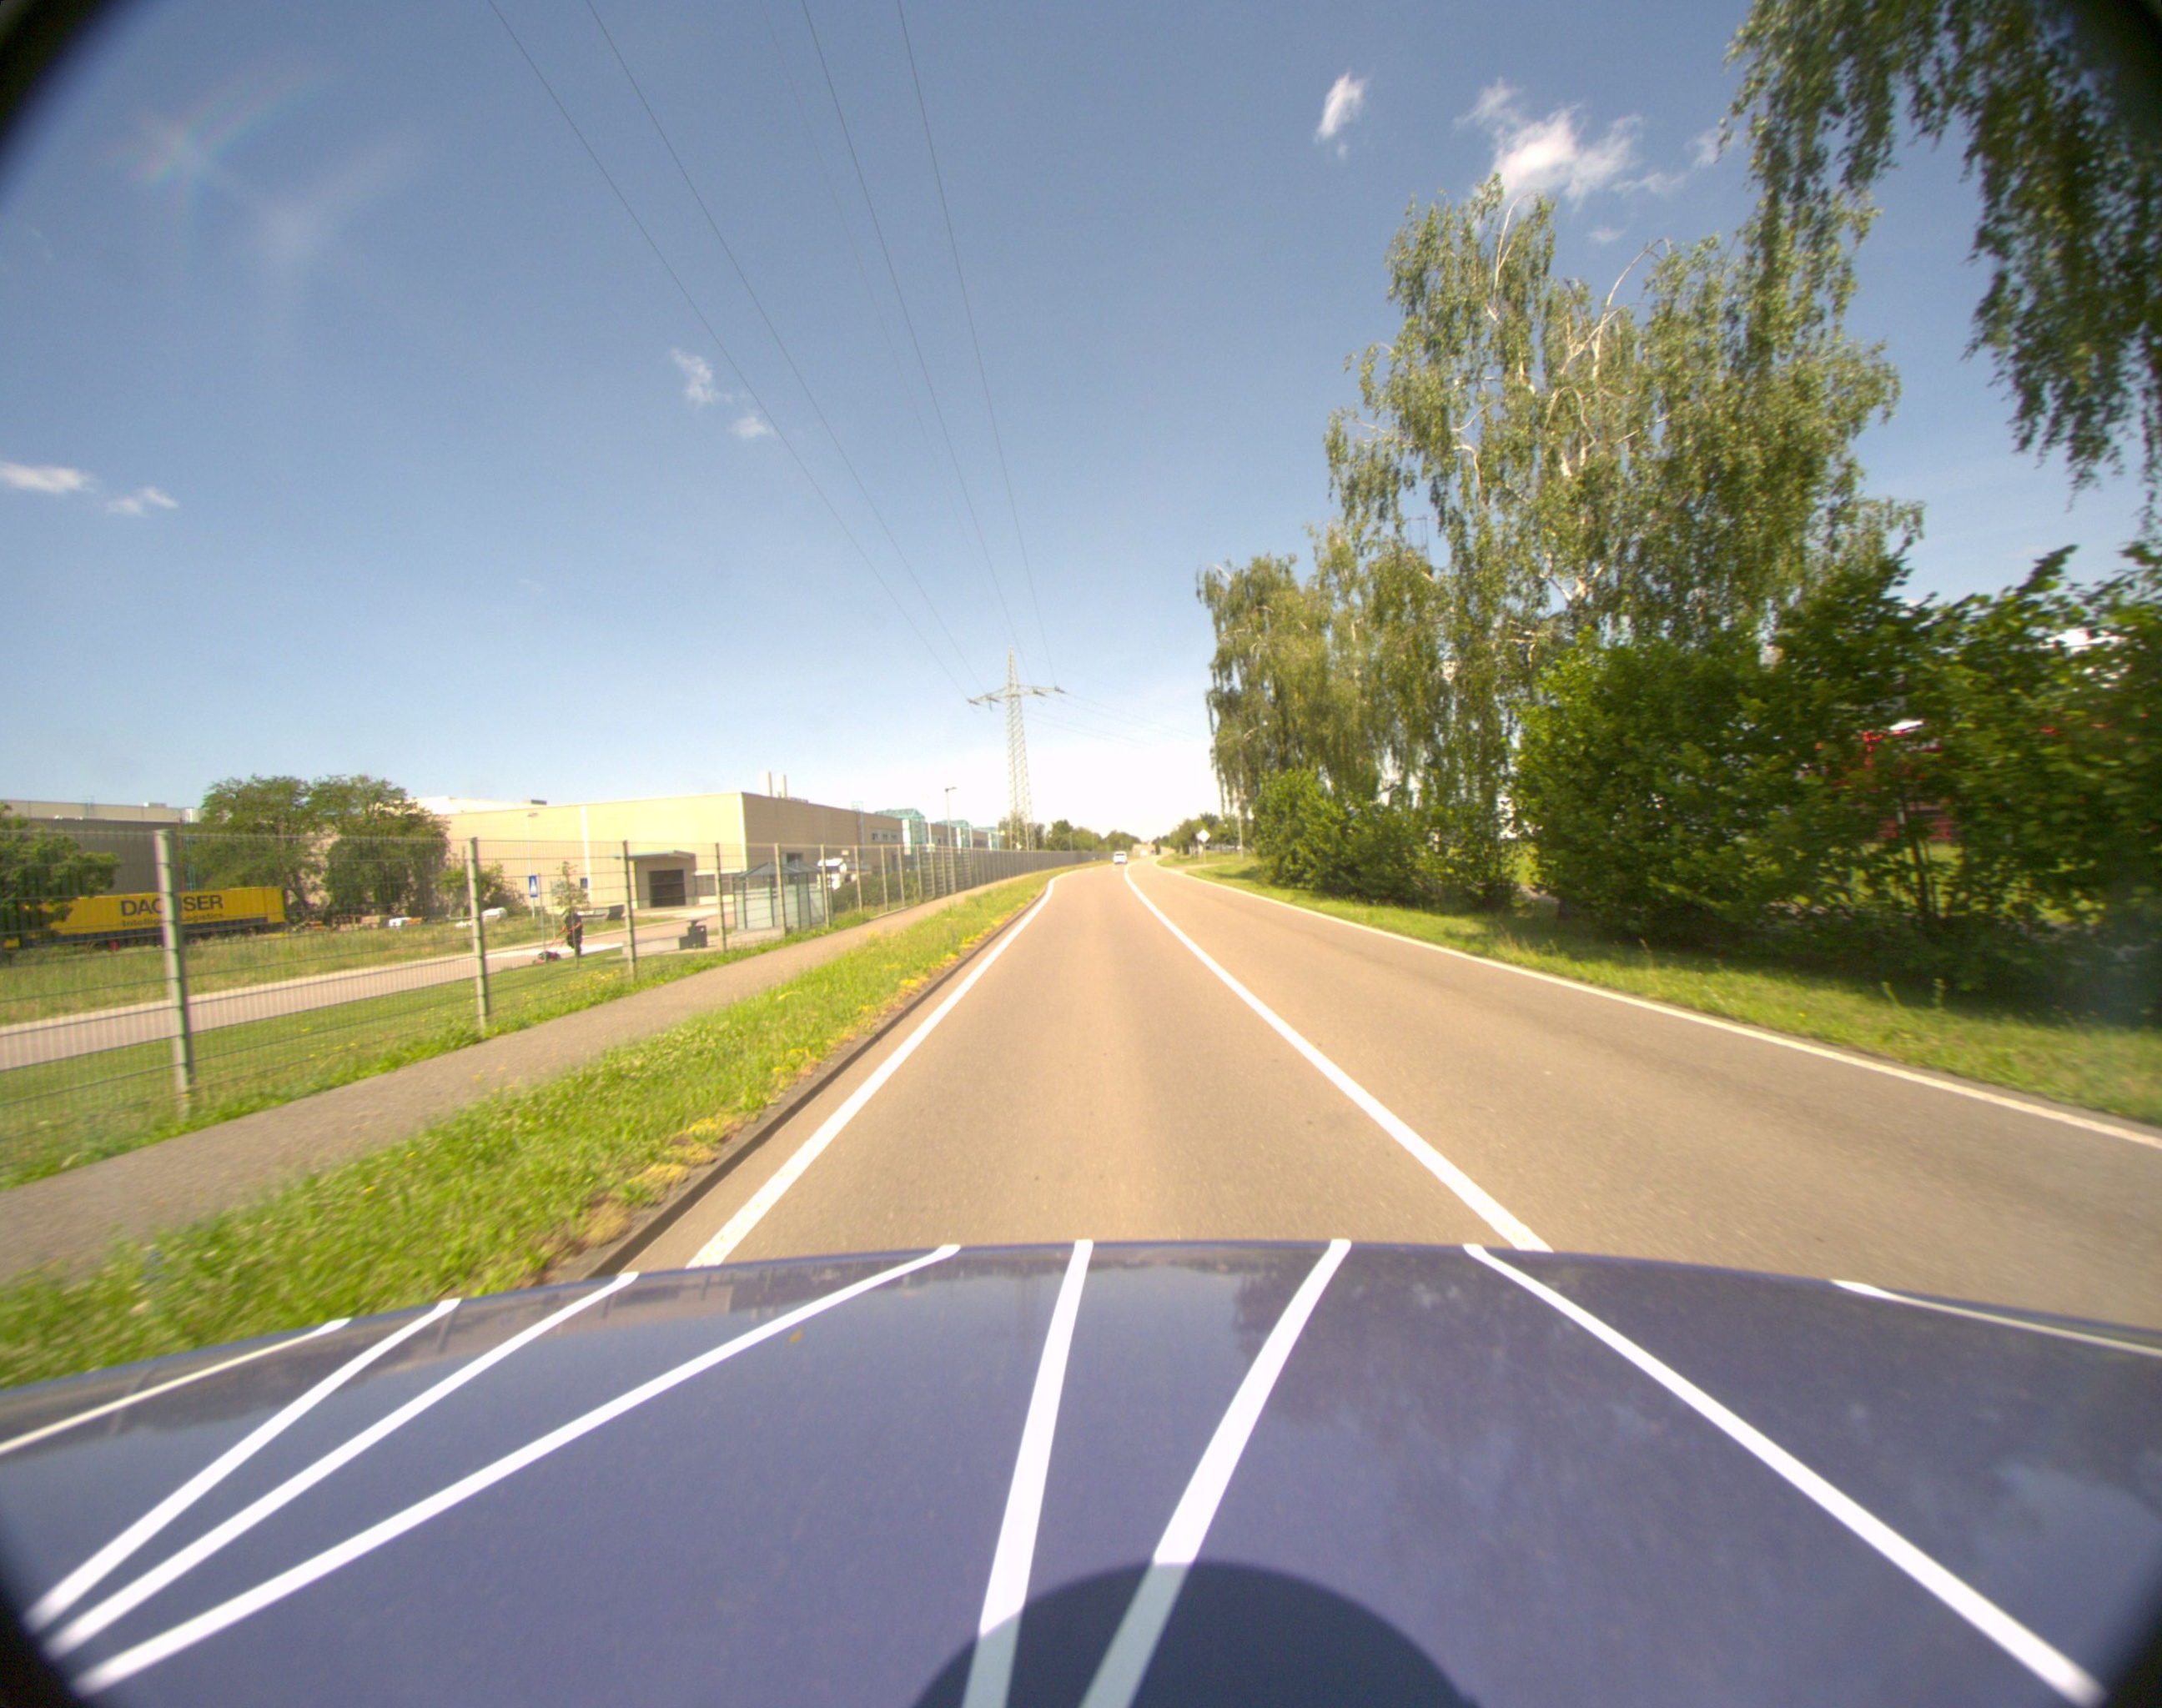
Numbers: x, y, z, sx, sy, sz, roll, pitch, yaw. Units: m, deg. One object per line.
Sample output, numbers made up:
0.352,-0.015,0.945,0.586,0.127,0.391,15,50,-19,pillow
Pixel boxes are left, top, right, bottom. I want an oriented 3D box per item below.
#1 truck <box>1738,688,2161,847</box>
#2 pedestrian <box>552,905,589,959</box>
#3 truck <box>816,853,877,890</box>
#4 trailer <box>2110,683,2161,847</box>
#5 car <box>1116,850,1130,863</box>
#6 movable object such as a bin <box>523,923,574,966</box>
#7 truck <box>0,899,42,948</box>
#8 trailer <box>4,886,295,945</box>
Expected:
25.779,-2.125,22.883,3.108,3.624,10.594,-3,1,3,truck
-17.538,2.670,26.114,0.592,1.719,0.792,-5,1,1,pedestrian
-27.219,1.908,88.944,2.863,3.720,11.677,-3,1,3,truck
25.256,-1.946,10.151,3.298,3.624,14.925,-3,1,3,trailer
6.332,0.387,113.866,1.835,1.796,4.832,-2,0,7,car
-17.462,2.960,24.956,0.420,1.178,1.568,-5,0,1,movable object such as a bin
-63.431,4.162,38.556,1.998,2.697,13.738,-3,1,2,truck
-62.845,3.968,52.363,1.998,2.697,14.098,-3,1,3,trailer
